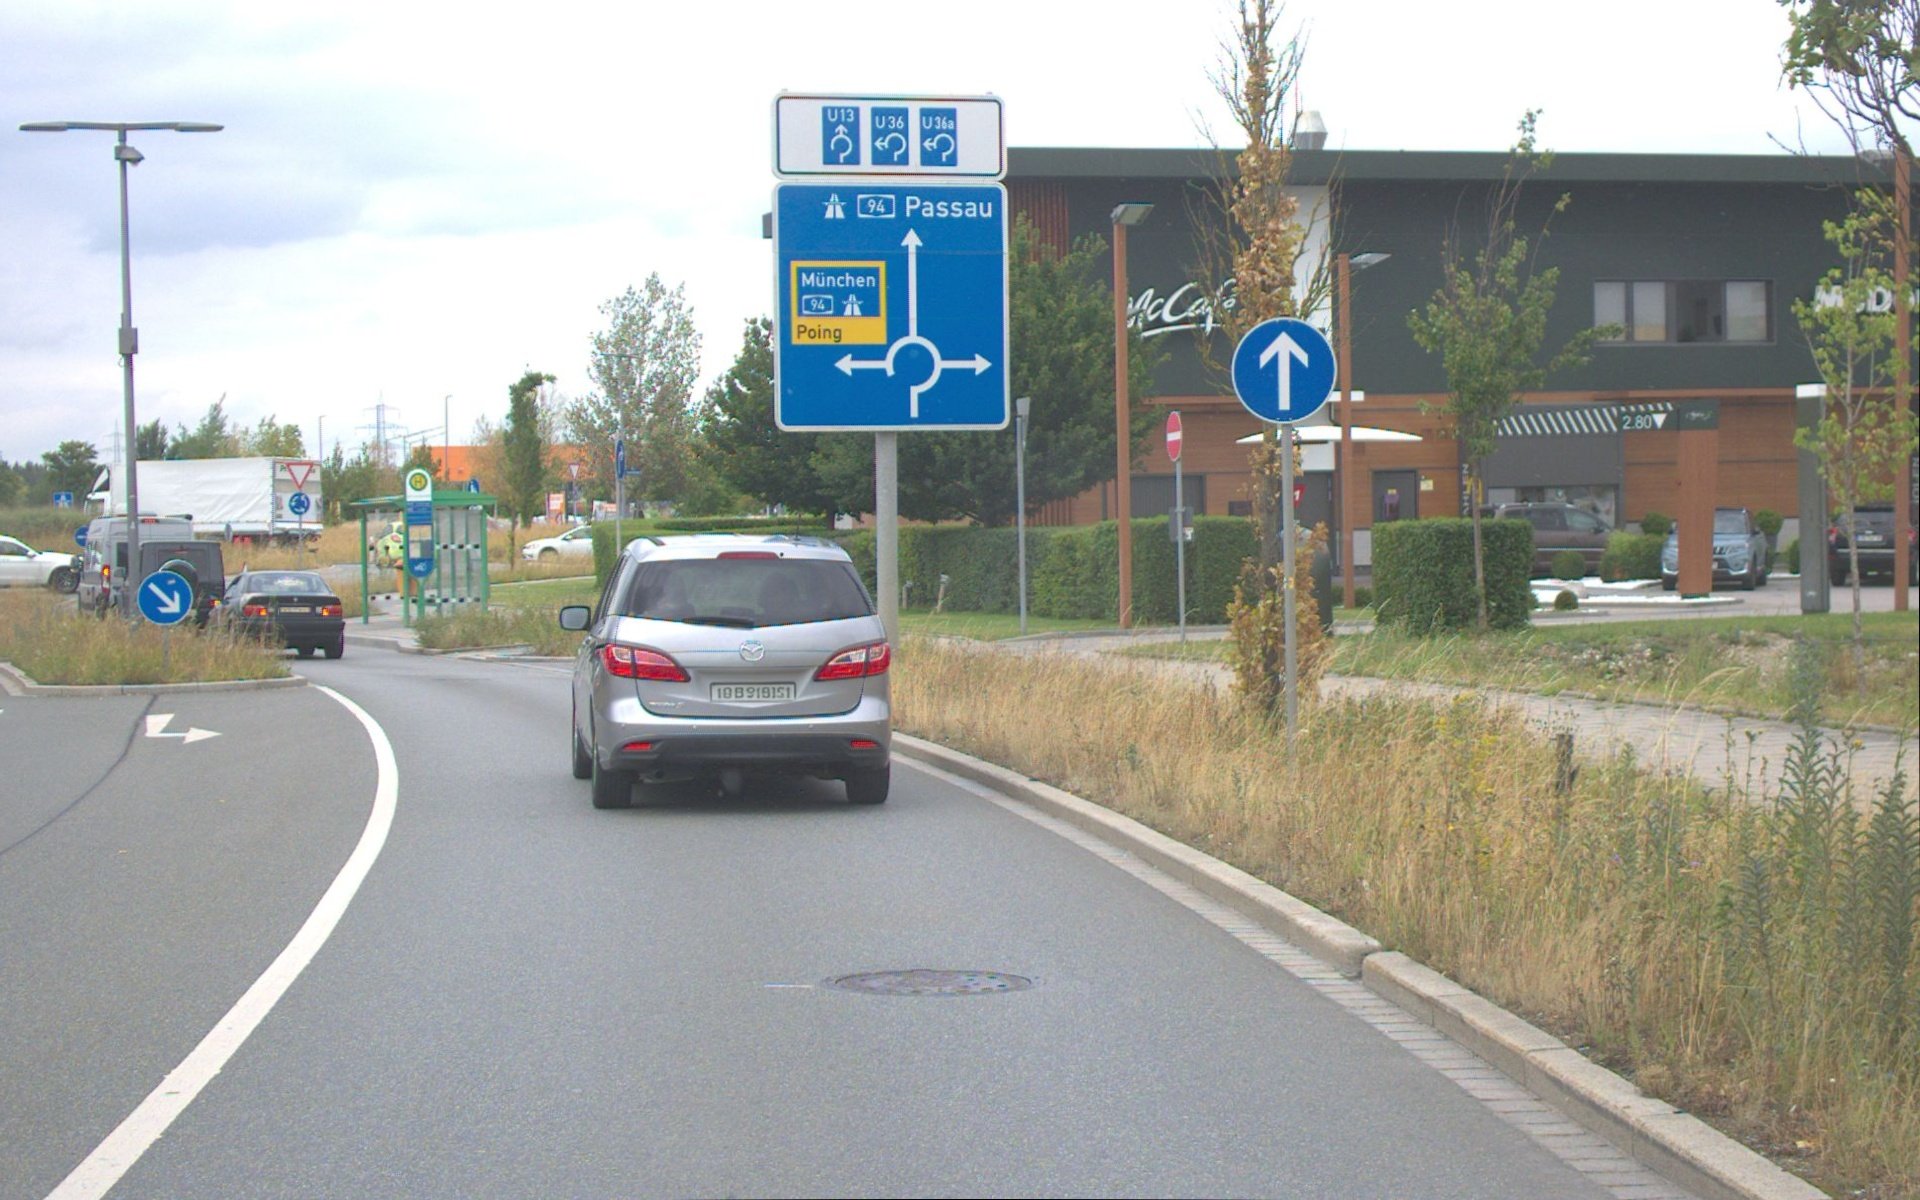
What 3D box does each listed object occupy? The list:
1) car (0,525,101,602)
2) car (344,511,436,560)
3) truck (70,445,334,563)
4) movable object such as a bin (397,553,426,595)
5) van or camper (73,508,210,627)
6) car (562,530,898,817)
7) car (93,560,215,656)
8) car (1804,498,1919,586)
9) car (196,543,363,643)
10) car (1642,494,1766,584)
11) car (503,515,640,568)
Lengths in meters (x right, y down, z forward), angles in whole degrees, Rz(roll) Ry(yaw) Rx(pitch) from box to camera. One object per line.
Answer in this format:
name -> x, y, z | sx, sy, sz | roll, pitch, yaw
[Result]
car -> -25.775, -0.975, 92.927 | 4.608, 2.007, 2.000 | -2, 1, -25
car -> -18.558, -2.083, 111.860 | 1.993, 1.510, 4.001 | -2, 1, -24
truck -> -26.556, -3.324, 120.274 | 9.321, 3.893, 3.138 | -1, 1, 31
movable object such as a bin -> -10.346, -0.493, 64.817 | 0.456, 0.795, 0.380 | -1, 1, -20
van or camper -> -17.943, -0.738, 75.213 | 2.302, 2.497, 5.207 | -1, 1, -20
car -> -1.497, 0.368, 21.088 | 1.729, 1.594, 3.808 | 0, 1, -9
car -> -16.091, 0.122, 68.479 | 2.058, 1.819, 4.787 | -1, 1, -17
car -> 18.437, -1.187, 69.455 | 2.118, 1.711, 4.226 | 0, 1, 22
car -> -10.490, -0.142, 52.801 | 1.844, 1.413, 4.226 | -2, 2, -20
car -> 14.726, -1.217, 67.912 | 1.995, 1.711, 3.997 | 0, 1, 18
car -> -13.464, -2.017, 118.999 | 4.601, 1.751, 2.001 | -1, 1, -9
